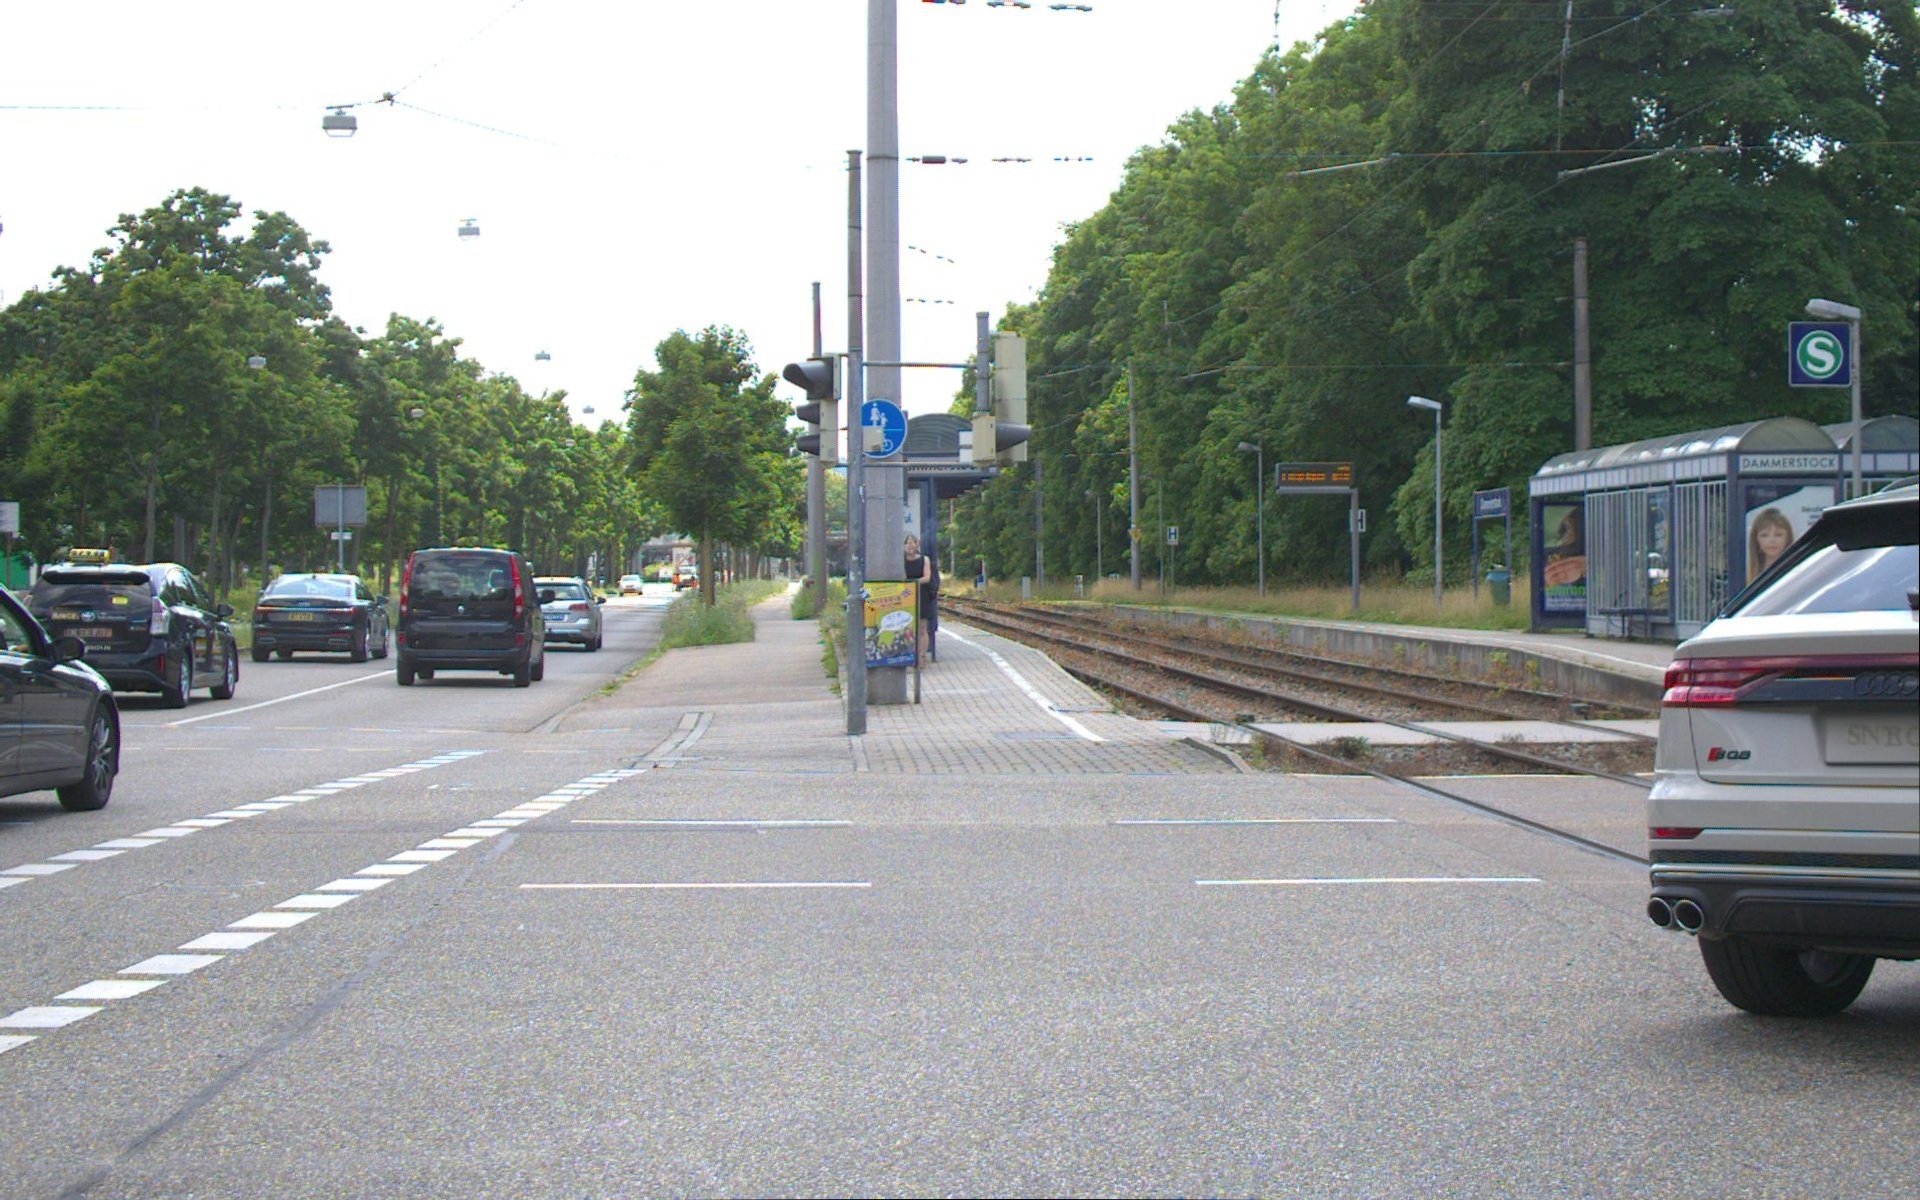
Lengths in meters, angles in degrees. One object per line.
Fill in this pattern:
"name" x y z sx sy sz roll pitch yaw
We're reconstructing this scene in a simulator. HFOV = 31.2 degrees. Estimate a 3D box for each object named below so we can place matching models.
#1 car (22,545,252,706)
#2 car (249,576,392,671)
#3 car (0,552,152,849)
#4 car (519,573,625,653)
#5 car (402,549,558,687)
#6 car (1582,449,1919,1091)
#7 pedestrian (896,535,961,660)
"car" -9.037 0.255 38.063 1.785 1.662 4.341 1 0 -4
"car" -10.534 0.365 56.851 1.864 1.499 4.001 1 0 -4
"car" -5.602 0.489 17.803 1.755 1.461 4.433 0 1 0
"car" -7.740 0.241 68.883 1.785 1.520 4.301 1 0 -2
"car" -6.470 0.226 46.646 1.759 1.771 3.909 1 0 -3
"car" 4.014 0.421 10.707 1.986 1.678 4.563 0 1 42
"pedestrian" -0.387 -0.032 41.985 0.653 1.508 0.718 -1 0 -10
